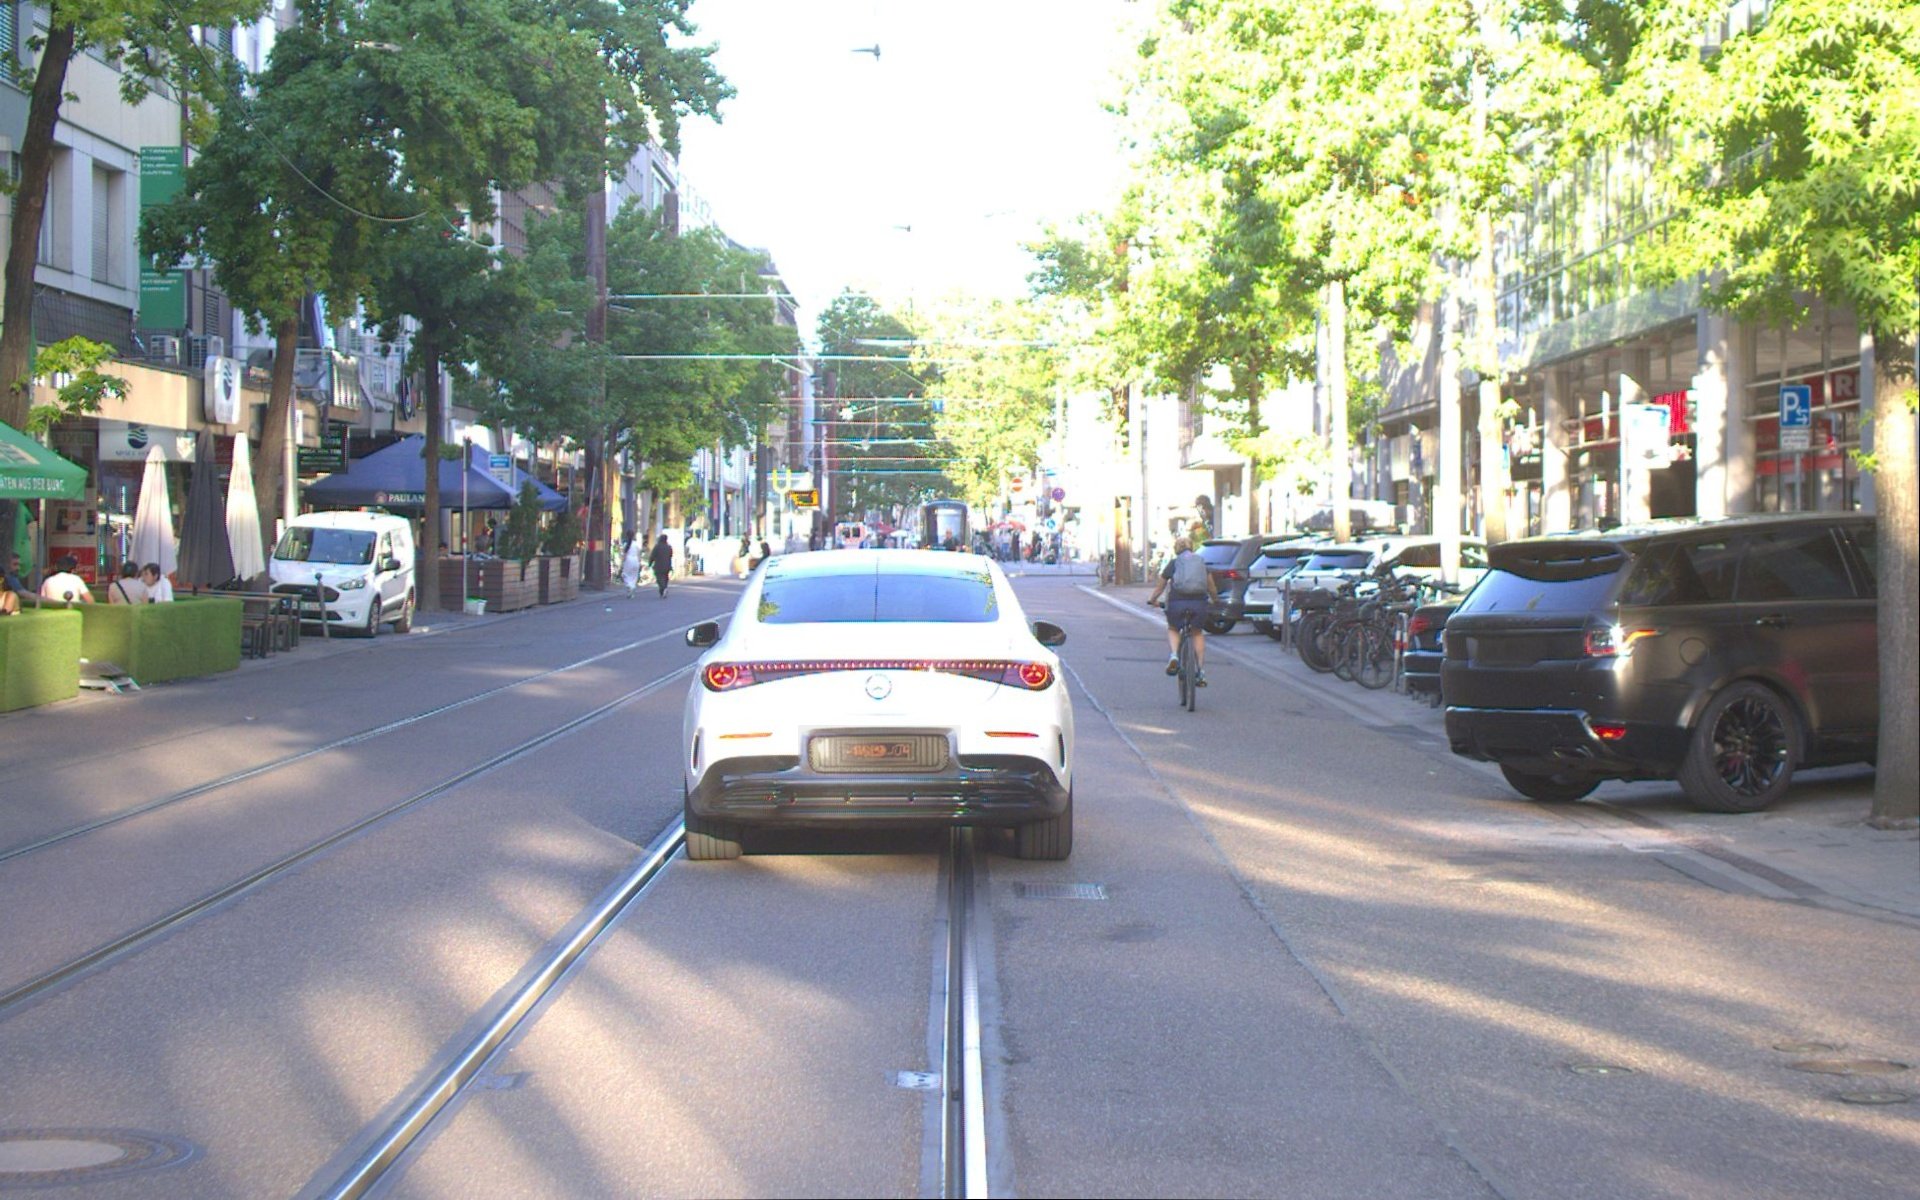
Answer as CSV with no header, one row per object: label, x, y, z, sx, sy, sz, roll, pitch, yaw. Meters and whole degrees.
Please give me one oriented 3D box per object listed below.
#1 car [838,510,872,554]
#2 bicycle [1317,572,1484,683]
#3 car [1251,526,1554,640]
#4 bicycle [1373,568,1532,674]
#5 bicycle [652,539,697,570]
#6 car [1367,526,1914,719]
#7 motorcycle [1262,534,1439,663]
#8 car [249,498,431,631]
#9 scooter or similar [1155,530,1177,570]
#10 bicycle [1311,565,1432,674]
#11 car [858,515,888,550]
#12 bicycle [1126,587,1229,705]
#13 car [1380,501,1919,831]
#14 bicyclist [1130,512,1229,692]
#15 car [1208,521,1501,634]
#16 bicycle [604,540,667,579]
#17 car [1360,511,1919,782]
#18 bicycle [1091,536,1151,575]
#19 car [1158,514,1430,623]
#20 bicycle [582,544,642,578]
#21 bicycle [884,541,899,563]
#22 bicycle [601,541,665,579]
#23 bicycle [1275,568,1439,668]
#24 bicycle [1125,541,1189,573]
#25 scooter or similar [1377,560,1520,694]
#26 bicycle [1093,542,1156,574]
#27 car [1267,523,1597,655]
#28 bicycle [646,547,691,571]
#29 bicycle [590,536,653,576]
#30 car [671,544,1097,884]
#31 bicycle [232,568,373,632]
car,-6.941,-4.531,228.032,1.993,2.887,5.275,0,1,1
bicycle,4.804,0.292,37.445,1.558,1.084,0.869,-4,3,-30
car,6.578,-0.267,51.091,4.145,1.494,1.689,-3,1,-23
bicycle,5.648,0.234,39.402,1.689,1.102,0.632,-4,1,-26
bicycle,-9.881,-1.581,118.963,1.492,1.025,0.345,1,1,-10
car,6.338,0.171,31.742,5.046,1.464,1.977,-4,1,-35
motorcycle,4.916,-0.027,43.204,2.313,1.504,0.858,-3,1,-43
car,-9.411,-0.563,52.500,1.795,1.858,4.553,3,1,1
scooter or similar,6.715,-1.634,112.087,0.527,1.273,0.660,-2,1,-11
bicycle,4.760,0.222,39.694,0.481,1.159,1.691,-2,1,40
car,-6.226,-4.844,246.648,1.910,2.452,5.275,0,1,1
bicycle,2.027,0.409,31.787,0.719,0.992,2.058,2,1,9
car,5.128,0.312,21.318,4.651,1.757,1.995,-3,1,-29
bicyclist,2.028,0.006,31.695,0.778,1.607,0.912,2,1,9
car,6.199,-0.364,53.871,4.235,1.582,1.884,-3,1,-31
bicycle,-9.367,-1.160,99.242,1.788,1.073,0.377,1,1,-4
car,5.397,0.260,24.408,4.651,1.649,2.009,-3,1,-23
bicycle,5.473,-1.521,116.756,1.908,1.277,0.610,-2,1,-11
car,5.646,-0.544,57.950,4.342,1.646,1.695,-3,1,-31
bicycle,-9.714,-1.094,96.038,1.596,0.927,0.377,2,1,7
bicycle,-3.673,-2.584,184.269,0.800,1.138,2.257,2,1,-1
bicycle,-9.593,-1.182,100.866,1.846,1.073,0.377,1,1,-4
bicycle,4.816,0.216,41.642,1.890,1.116,0.667,-3,1,-28
bicycle,6.831,-1.482,119.061,2.113,1.092,0.610,-1,1,-12
scooter or similar,4.968,0.271,34.929,1.302,1.272,0.564,-4,1,-31
bicycle,5.719,-1.468,119.740,2.113,1.092,0.610,0,1,-11
car,6.386,-0.173,46.399,4.147,1.566,1.854,-3,2,-33
bicycle,-9.914,-1.403,116.825,1.493,0.780,0.344,1,1,2
bicycle,-10.183,-1.322,103.454,1.846,1.137,0.377,1,1,2
car,-0.337,0.468,17.261,1.857,1.450,4.175,1,1,0
bicycle,-9.392,0.004,49.183,0.836,0.862,1.856,3,2,39
